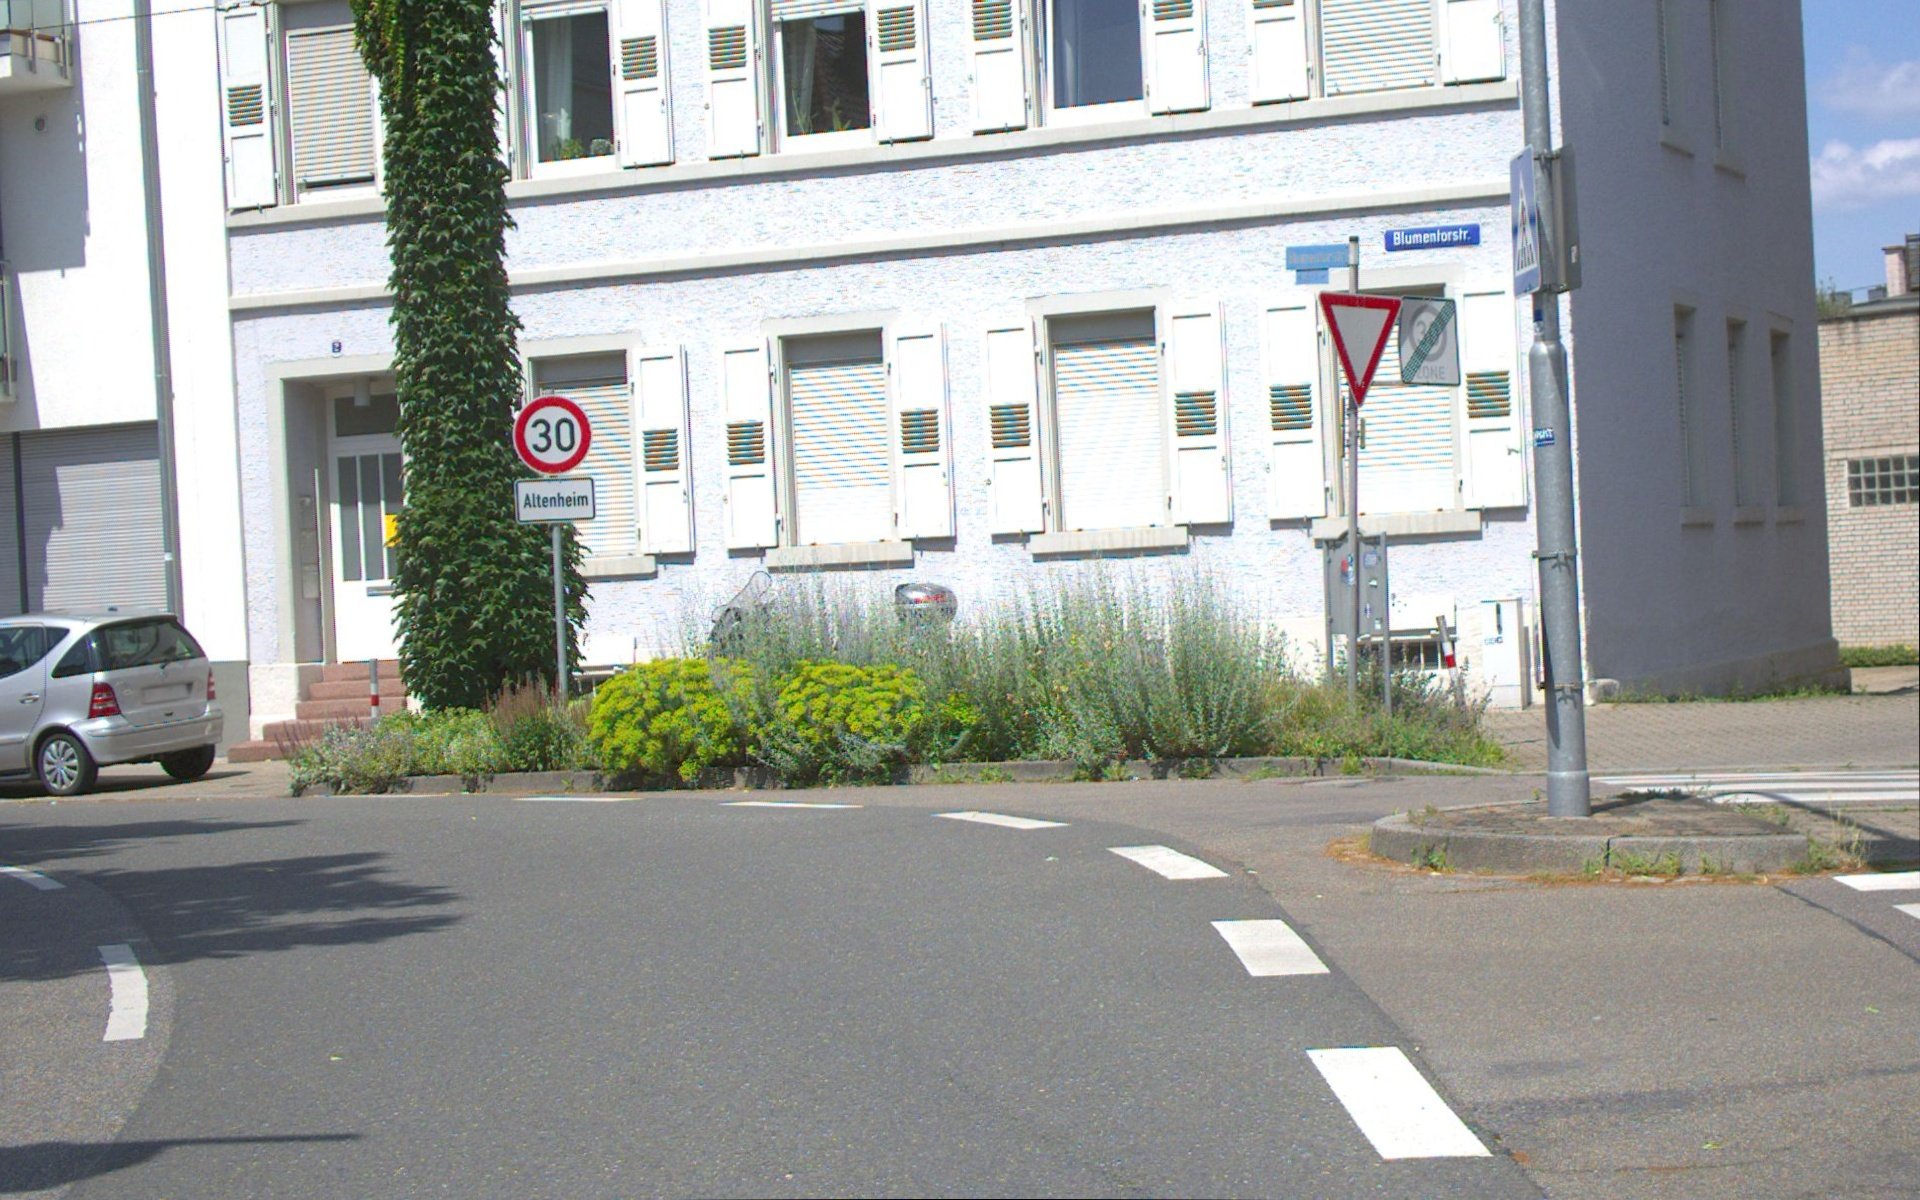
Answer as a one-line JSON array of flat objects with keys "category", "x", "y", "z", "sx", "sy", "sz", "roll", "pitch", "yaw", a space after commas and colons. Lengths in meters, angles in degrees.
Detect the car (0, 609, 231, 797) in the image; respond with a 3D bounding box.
[{"category": "car", "x": -8.377, "y": 0.929, "z": 30.479, "sx": 3.612, "sy": 1.581, "sz": 1.581, "roll": -2, "pitch": -2, "yaw": 30}]
